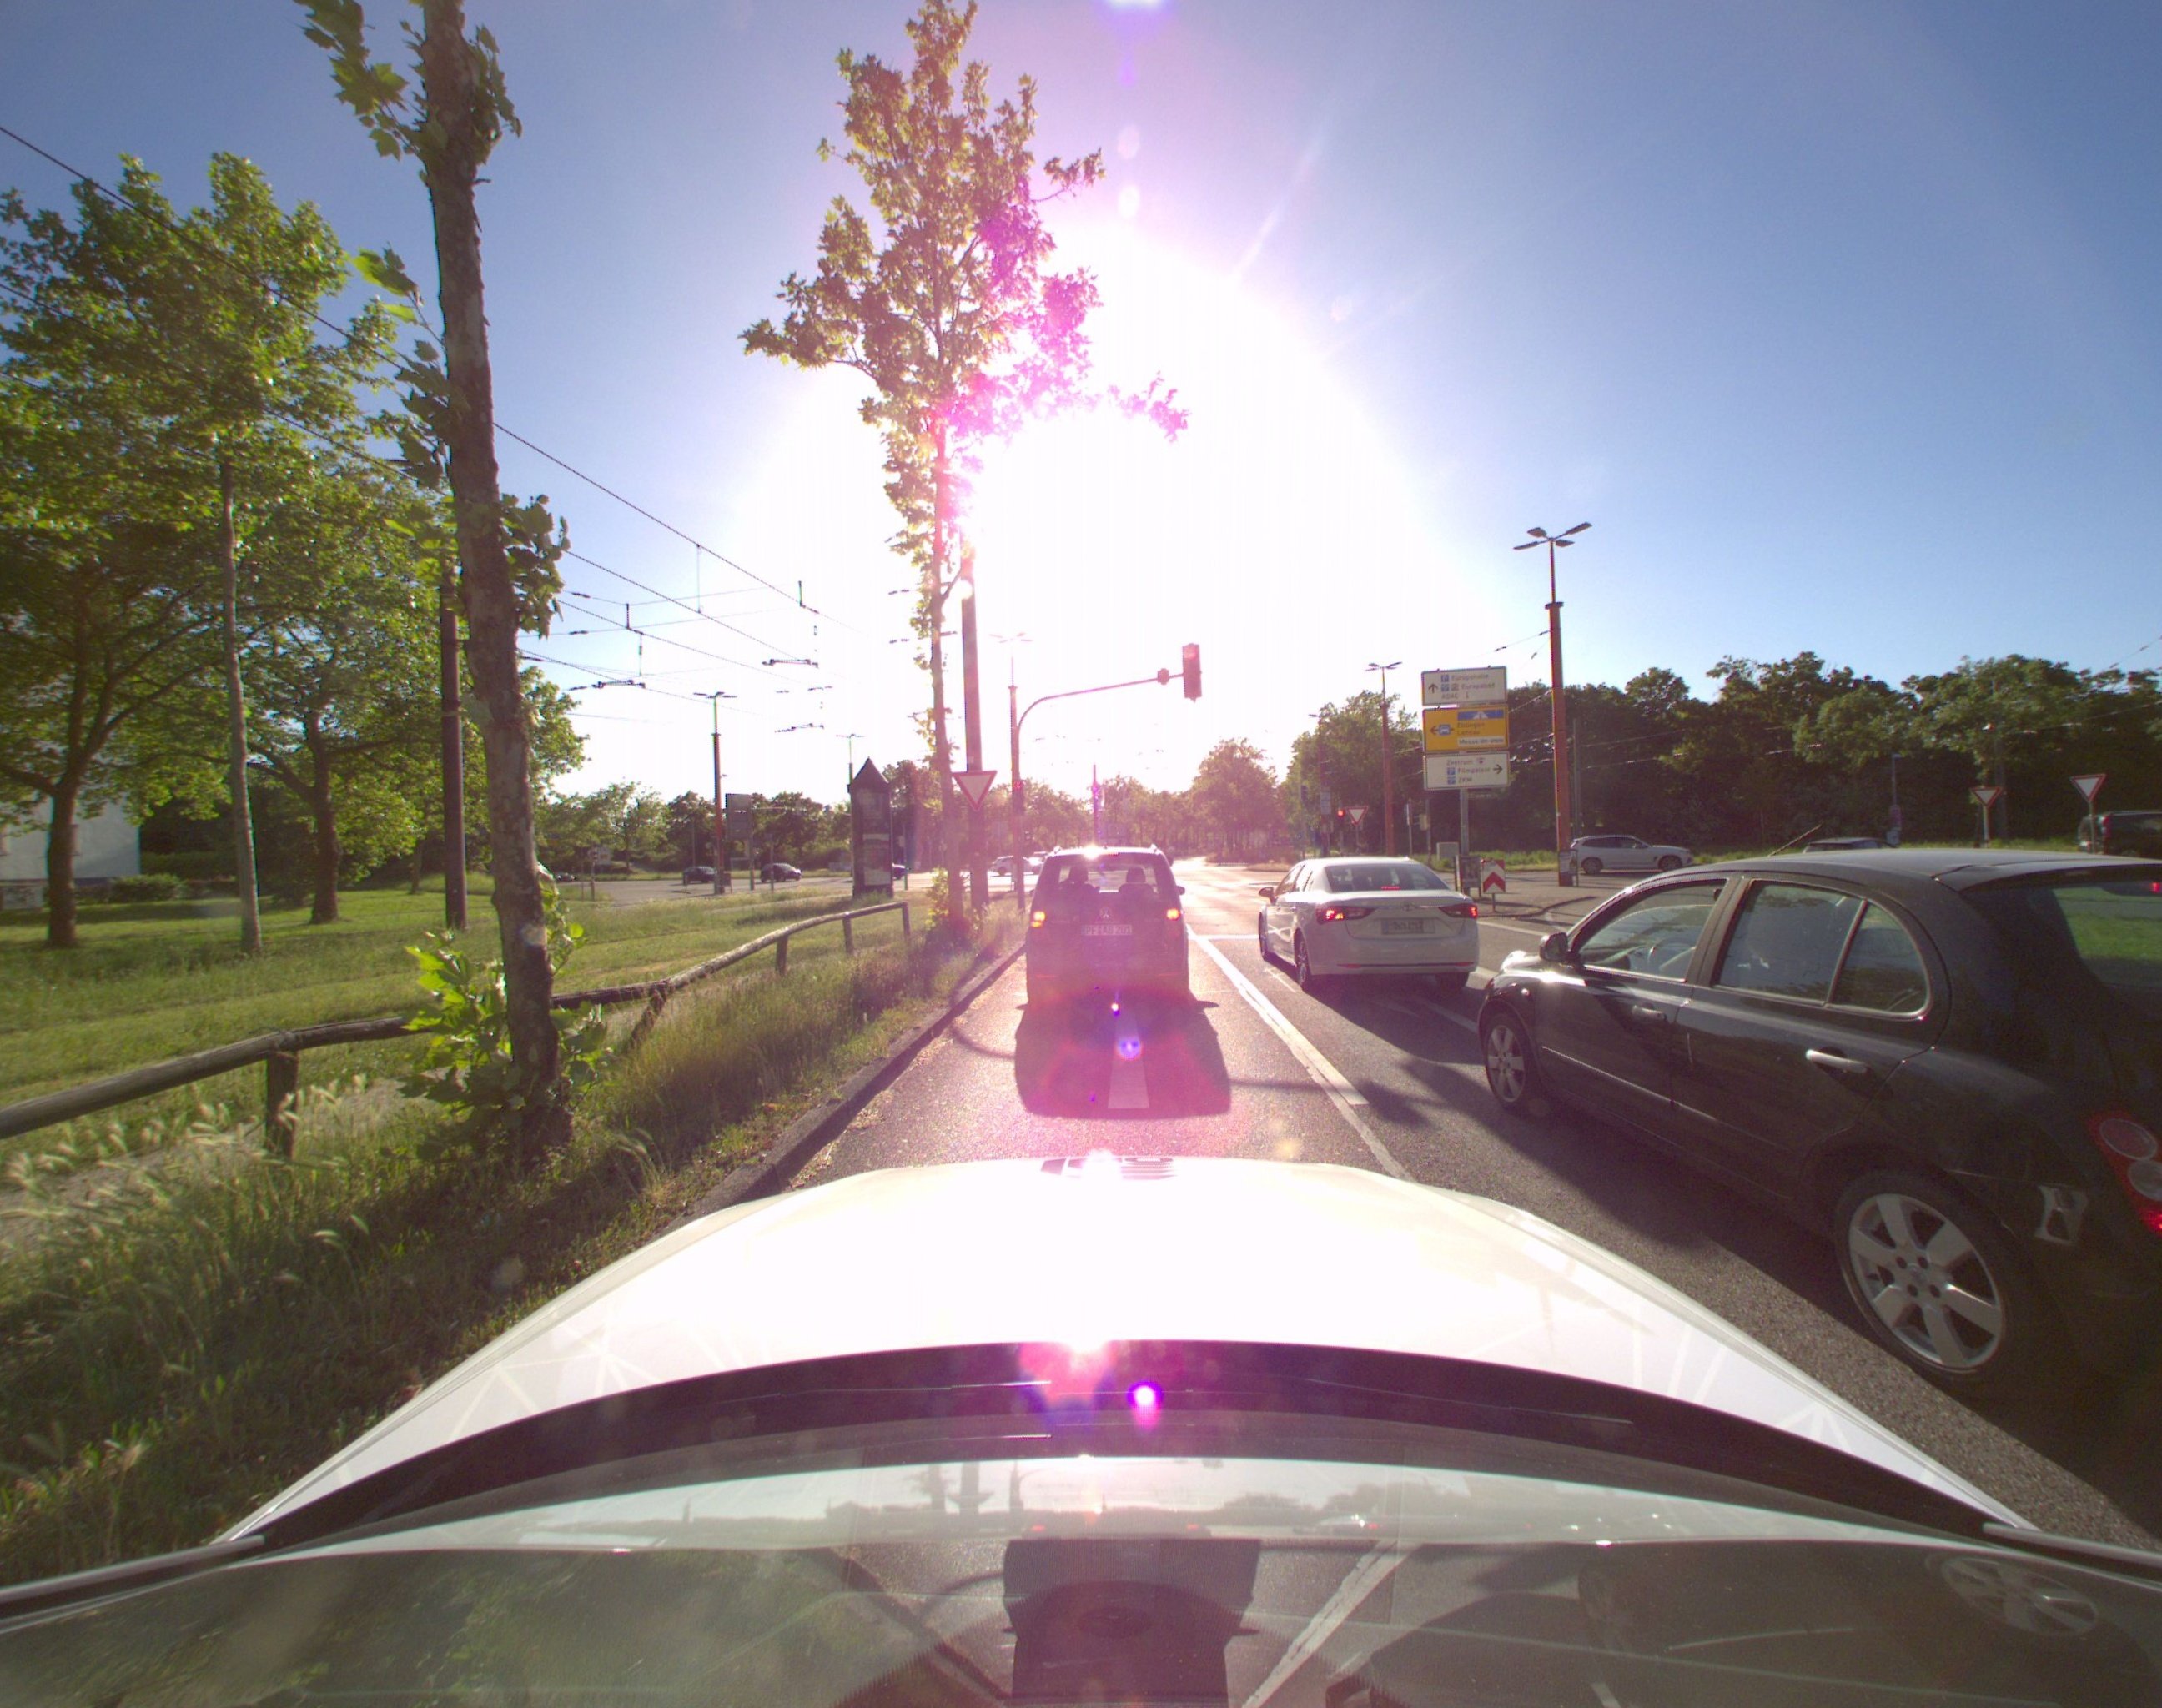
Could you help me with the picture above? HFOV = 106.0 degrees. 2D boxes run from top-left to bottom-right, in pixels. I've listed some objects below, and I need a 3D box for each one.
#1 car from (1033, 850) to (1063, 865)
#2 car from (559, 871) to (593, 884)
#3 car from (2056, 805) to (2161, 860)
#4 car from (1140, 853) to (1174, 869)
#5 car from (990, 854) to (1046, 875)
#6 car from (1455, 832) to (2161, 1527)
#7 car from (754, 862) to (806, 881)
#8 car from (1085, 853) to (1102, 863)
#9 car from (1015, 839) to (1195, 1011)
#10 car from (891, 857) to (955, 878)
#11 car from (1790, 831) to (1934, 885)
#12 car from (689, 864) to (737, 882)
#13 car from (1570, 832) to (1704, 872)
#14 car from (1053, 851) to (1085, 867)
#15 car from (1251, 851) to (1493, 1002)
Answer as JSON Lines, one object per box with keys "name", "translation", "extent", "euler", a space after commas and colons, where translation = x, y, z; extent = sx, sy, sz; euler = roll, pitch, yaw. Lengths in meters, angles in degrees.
{"name": "car", "translation": [-3.769, 0.400, 93.861], "extent": [1.978, 1.684, 4.850], "euler": [-2, 0, 17]}
{"name": "car", "translation": [-55.200, 2.533, 88.984], "extent": [3.765, 1.310, 1.753], "euler": [-2, 0, 34]}
{"name": "car", "translation": [37.614, -0.764, 28.055], "extent": [4.734, 1.836, 1.926], "euler": [-2, 0, 32]}
{"name": "car", "translation": [7.405, 0.633, 79.312], "extent": [1.890, 1.464, 4.248], "euler": [-2, 0, 26]}
{"name": "car", "translation": [-4.820, 0.781, 62.623], "extent": [4.201, 1.464, 1.911], "euler": [-2, 0, -5]}
{"name": "car", "translation": [3.170, 0.695, 3.516], "extent": [1.550, 1.506, 3.517], "euler": [-2, 0, 2]}
{"name": "car", "translation": [-25.252, 1.450, 68.362], "extent": [4.004, 1.464, 1.926], "euler": [-2, 0, 30]}
{"name": "car", "translation": [2.266, 0.768, 147.828], "extent": [1.979, 1.684, 4.846], "euler": [-2, 0, 14]}
{"name": "car", "translation": [0.298, 0.697, 9.993], "extent": [1.731, 1.641, 4.002], "euler": [-2, 0, 2]}
{"name": "car", "translation": [-11.958, 1.020, 61.739], "extent": [4.333, 1.464, 1.919], "euler": [-2, 0, 9]}
{"name": "car", "translation": [23.867, 0.106, 24.902], "extent": [3.895, 1.469, 1.738], "euler": [-2, 0, -22]}
{"name": "car", "translation": [-33.331, 1.739, 73.692], "extent": [4.186, 1.464, 1.926], "euler": [-2, 0, 31]}
{"name": "car", "translation": [24.235, -0.085, 35.726], "extent": [4.734, 1.598, 1.926], "euler": [-2, 0, 31]}
{"name": "car", "translation": [-1.315, 0.515, 91.789], "extent": [1.977, 1.684, 4.853], "euler": [-2, 0, 20]}
{"name": "car", "translation": [3.299, 0.720, 10.120], "extent": [1.708, 1.454, 4.147], "euler": [-2, 0, 3]}
